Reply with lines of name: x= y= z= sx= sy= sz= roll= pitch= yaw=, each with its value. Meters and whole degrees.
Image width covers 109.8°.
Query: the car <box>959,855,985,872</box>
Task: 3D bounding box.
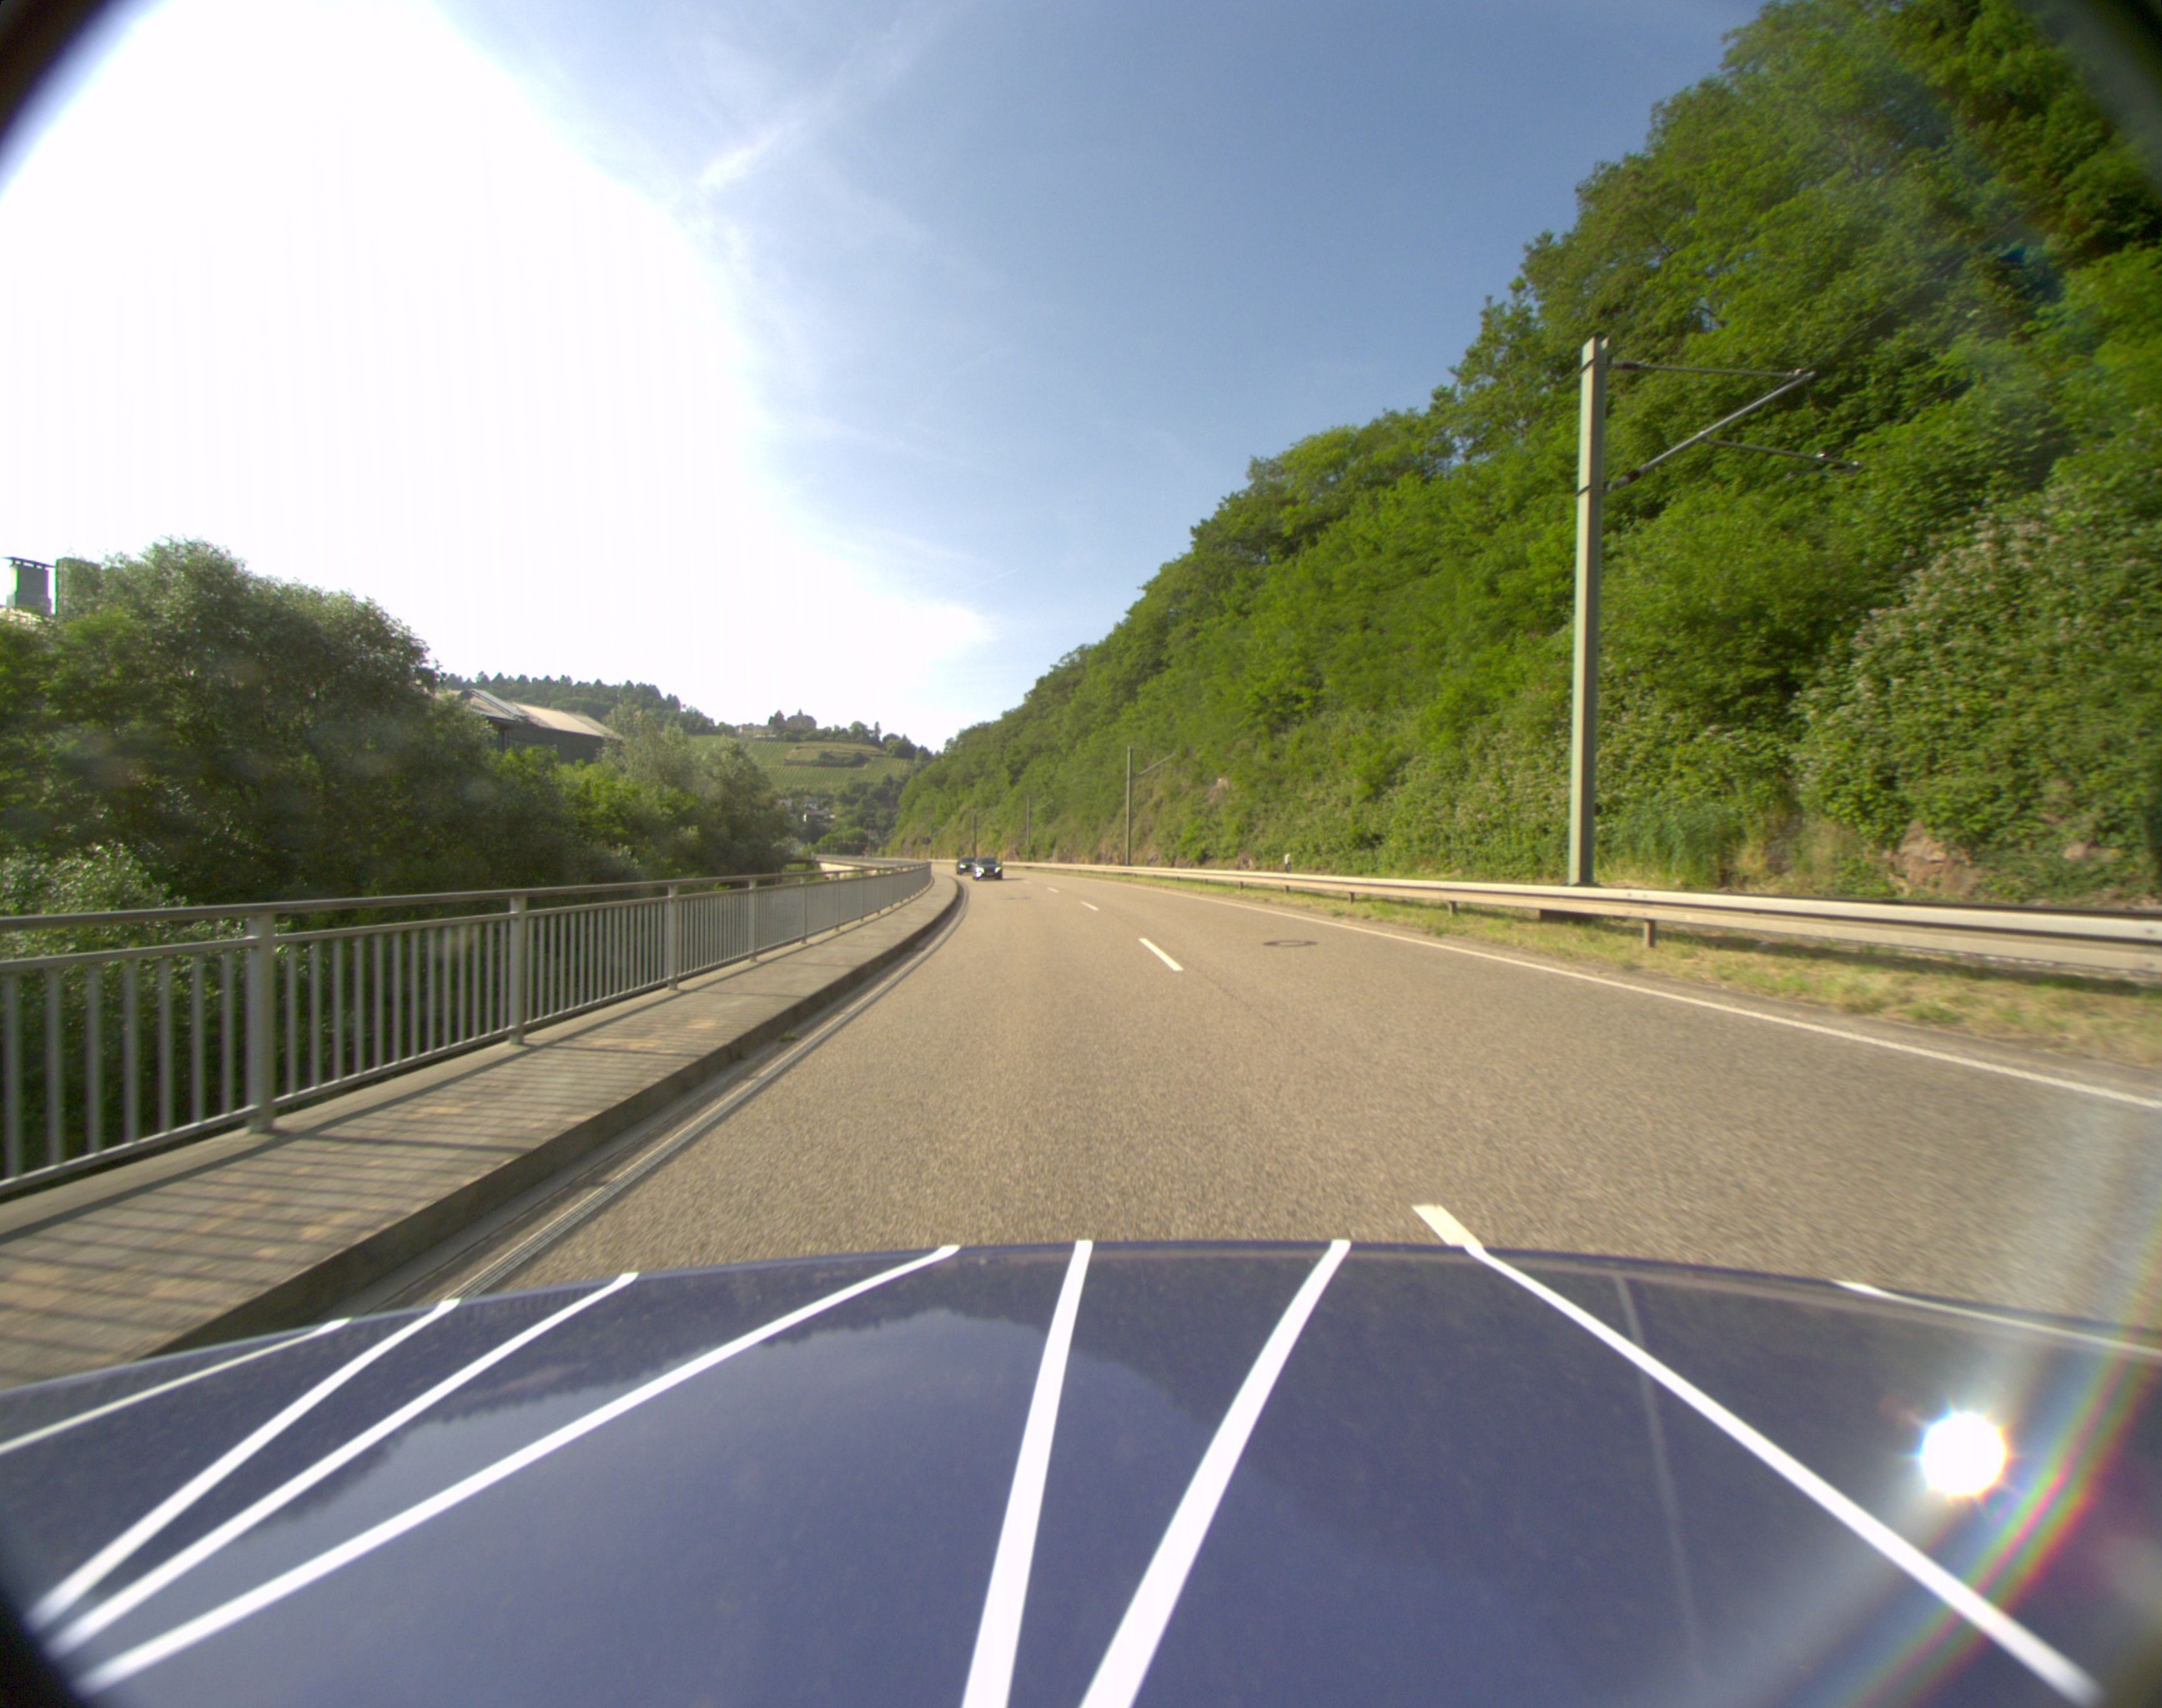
car: x=-9.934 y=0.886 z=68.987 sx=2.001 sy=1.384 sz=3.996 roll=3 pitch=-1 yaw=-12

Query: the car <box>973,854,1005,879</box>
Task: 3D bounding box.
car: x=-6.493 y=0.855 z=53.467 sx=1.865 sy=1.576 sz=3.995 roll=-2 pitch=1 yaw=-12
